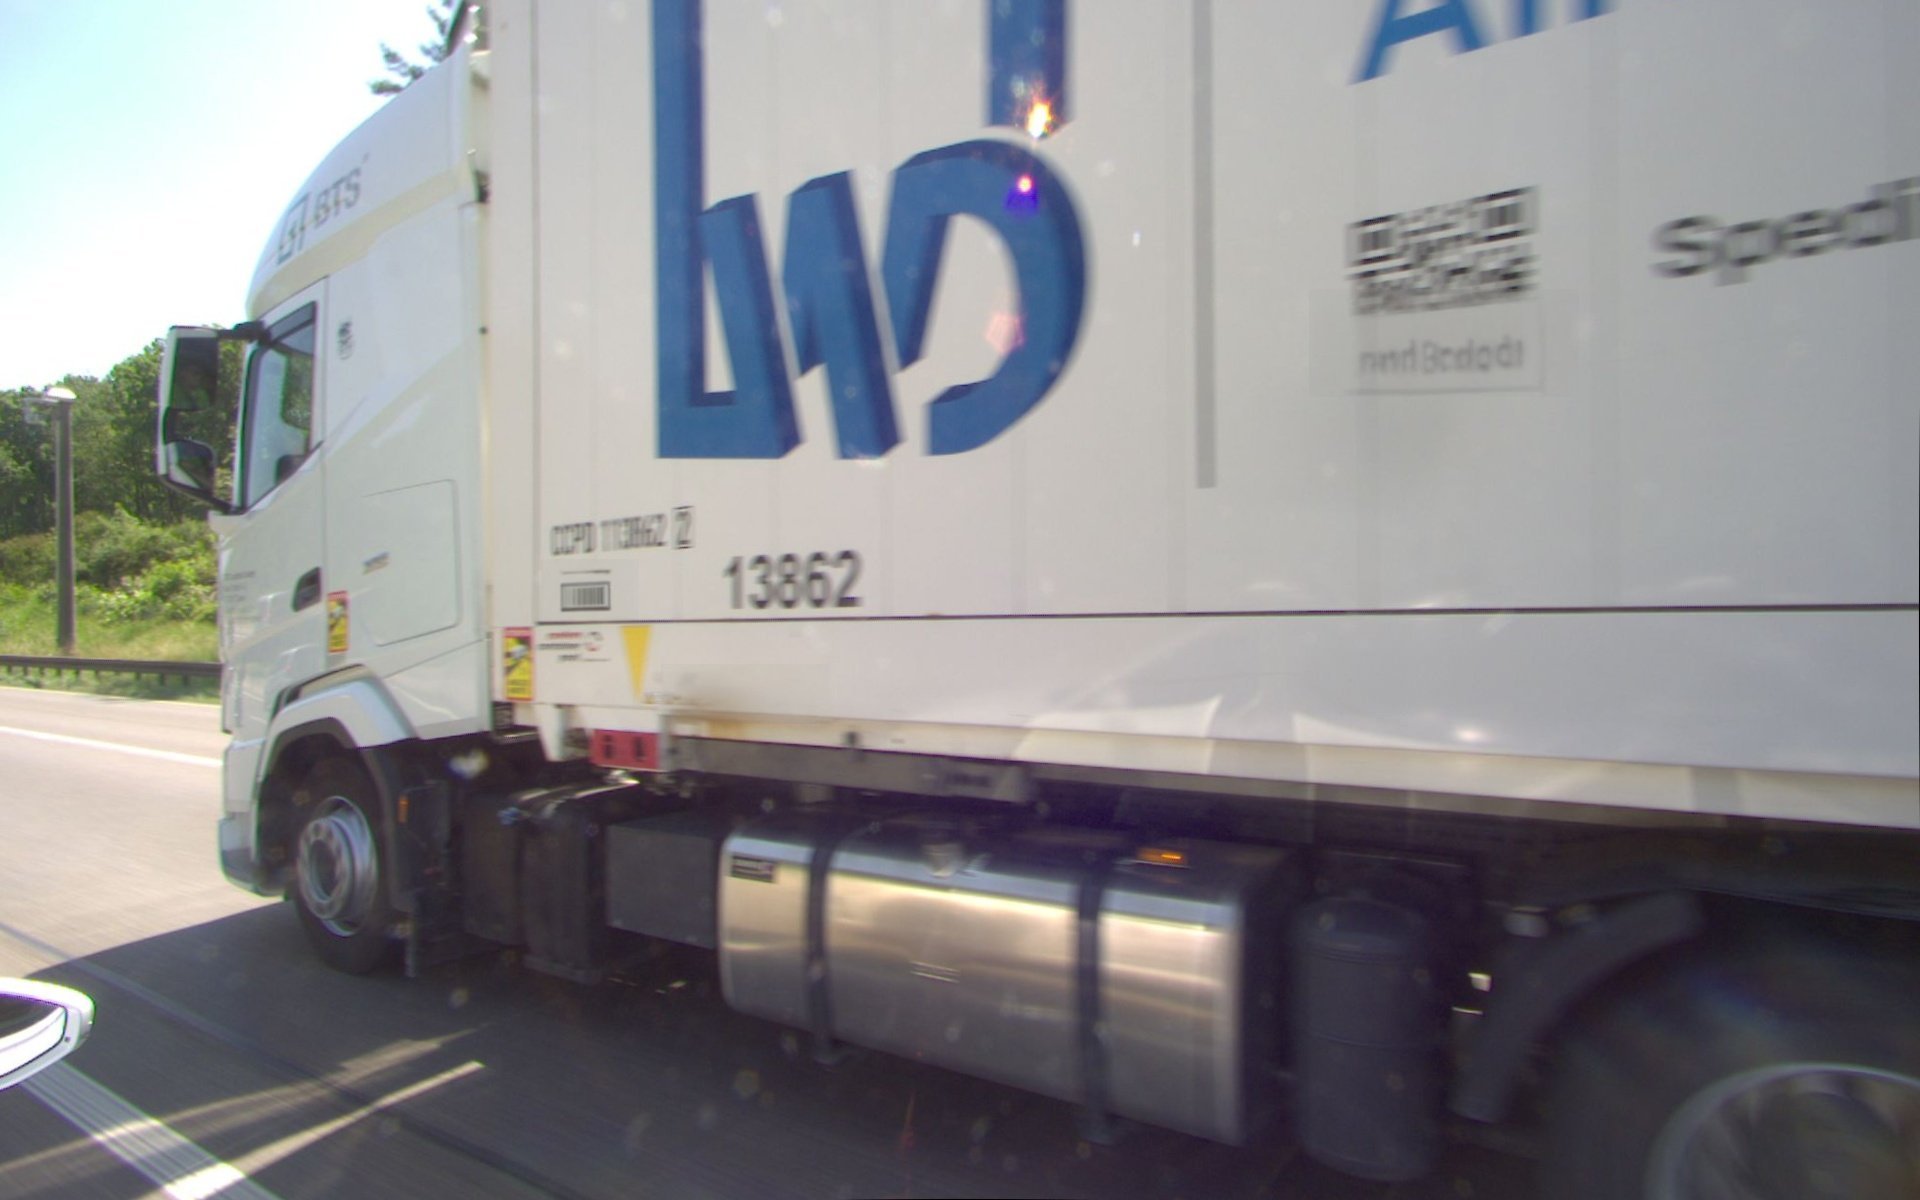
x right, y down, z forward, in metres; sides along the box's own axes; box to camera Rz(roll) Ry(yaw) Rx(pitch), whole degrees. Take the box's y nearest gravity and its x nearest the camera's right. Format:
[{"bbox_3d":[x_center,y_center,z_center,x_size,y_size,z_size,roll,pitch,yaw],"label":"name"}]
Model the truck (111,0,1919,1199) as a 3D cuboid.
[{"bbox_3d":[0.742,-0.585,3.530,10.472,4.112,2.675,0,-1,32],"label":"truck"}]
